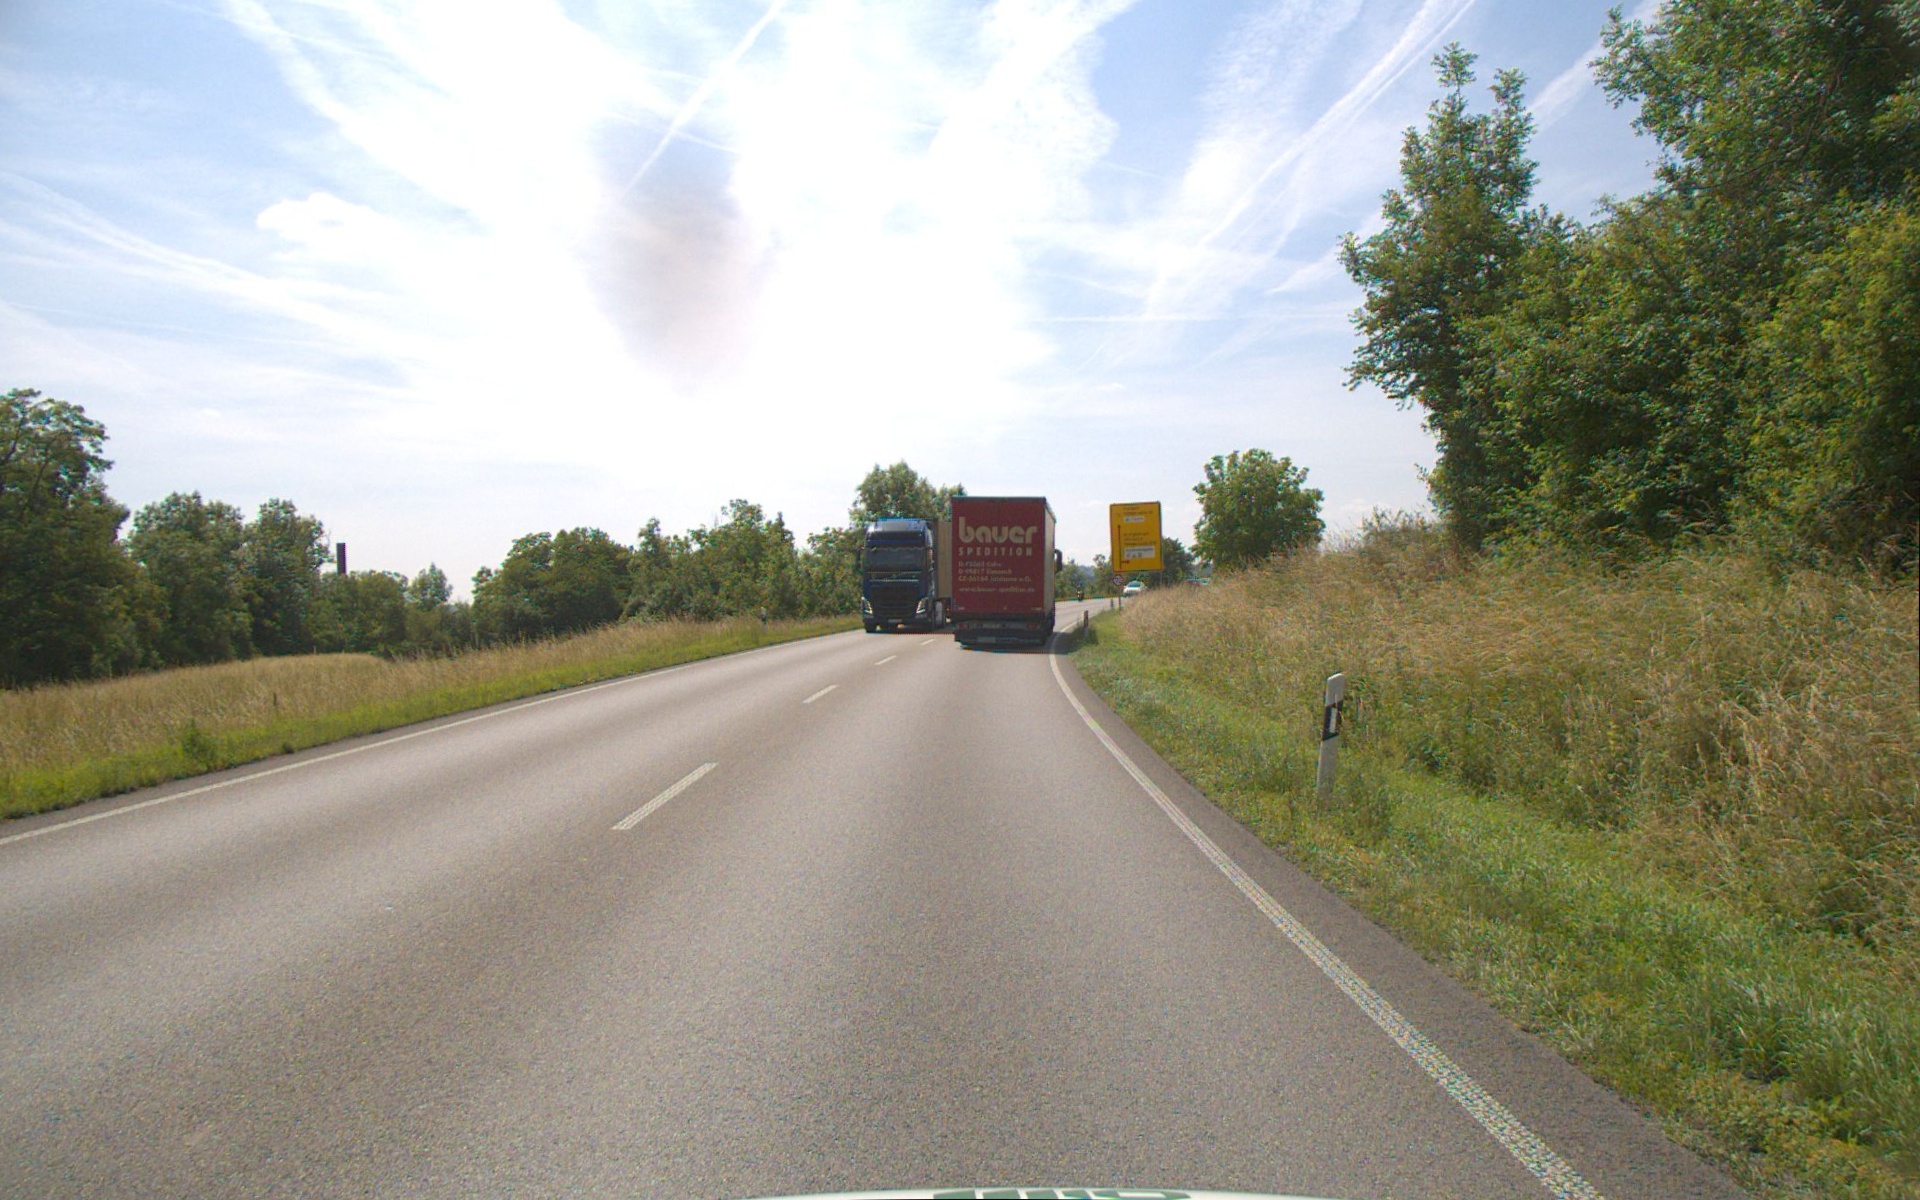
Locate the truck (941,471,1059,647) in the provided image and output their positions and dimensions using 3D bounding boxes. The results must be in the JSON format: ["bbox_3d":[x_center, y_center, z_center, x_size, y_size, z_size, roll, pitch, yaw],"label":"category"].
[{"bbox_3d":[1.259,-1.144,49.460,3.047,4.584,12.171,1,1,2],"label":"truck"}]

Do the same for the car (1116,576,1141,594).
[{"bbox_3d":[16.005,-1.431,156.833,1.752,1.548,4.164,-4,0,13],"label":"car"}]

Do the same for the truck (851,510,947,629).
[{"bbox_3d":[-2.153,-1.089,60.568,2.747,4.138,5.989,-1,0,5],"label":"truck"}]

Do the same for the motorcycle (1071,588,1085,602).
[{"bbox_3d":[9.506,-0.393,133.018,0.741,1.011,2.282,5,2,11],"label":"motorcycle"}]

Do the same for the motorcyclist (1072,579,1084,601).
[{"bbox_3d":[9.483,-0.821,132.888,0.899,1.748,0.963,0,0,12],"label":"motorcyclist"}]

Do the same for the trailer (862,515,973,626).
[{"bbox_3d":[-1.530,-1.080,67.824,2.933,4.114,12.925,0,0,6],"label":"trailer"}]
